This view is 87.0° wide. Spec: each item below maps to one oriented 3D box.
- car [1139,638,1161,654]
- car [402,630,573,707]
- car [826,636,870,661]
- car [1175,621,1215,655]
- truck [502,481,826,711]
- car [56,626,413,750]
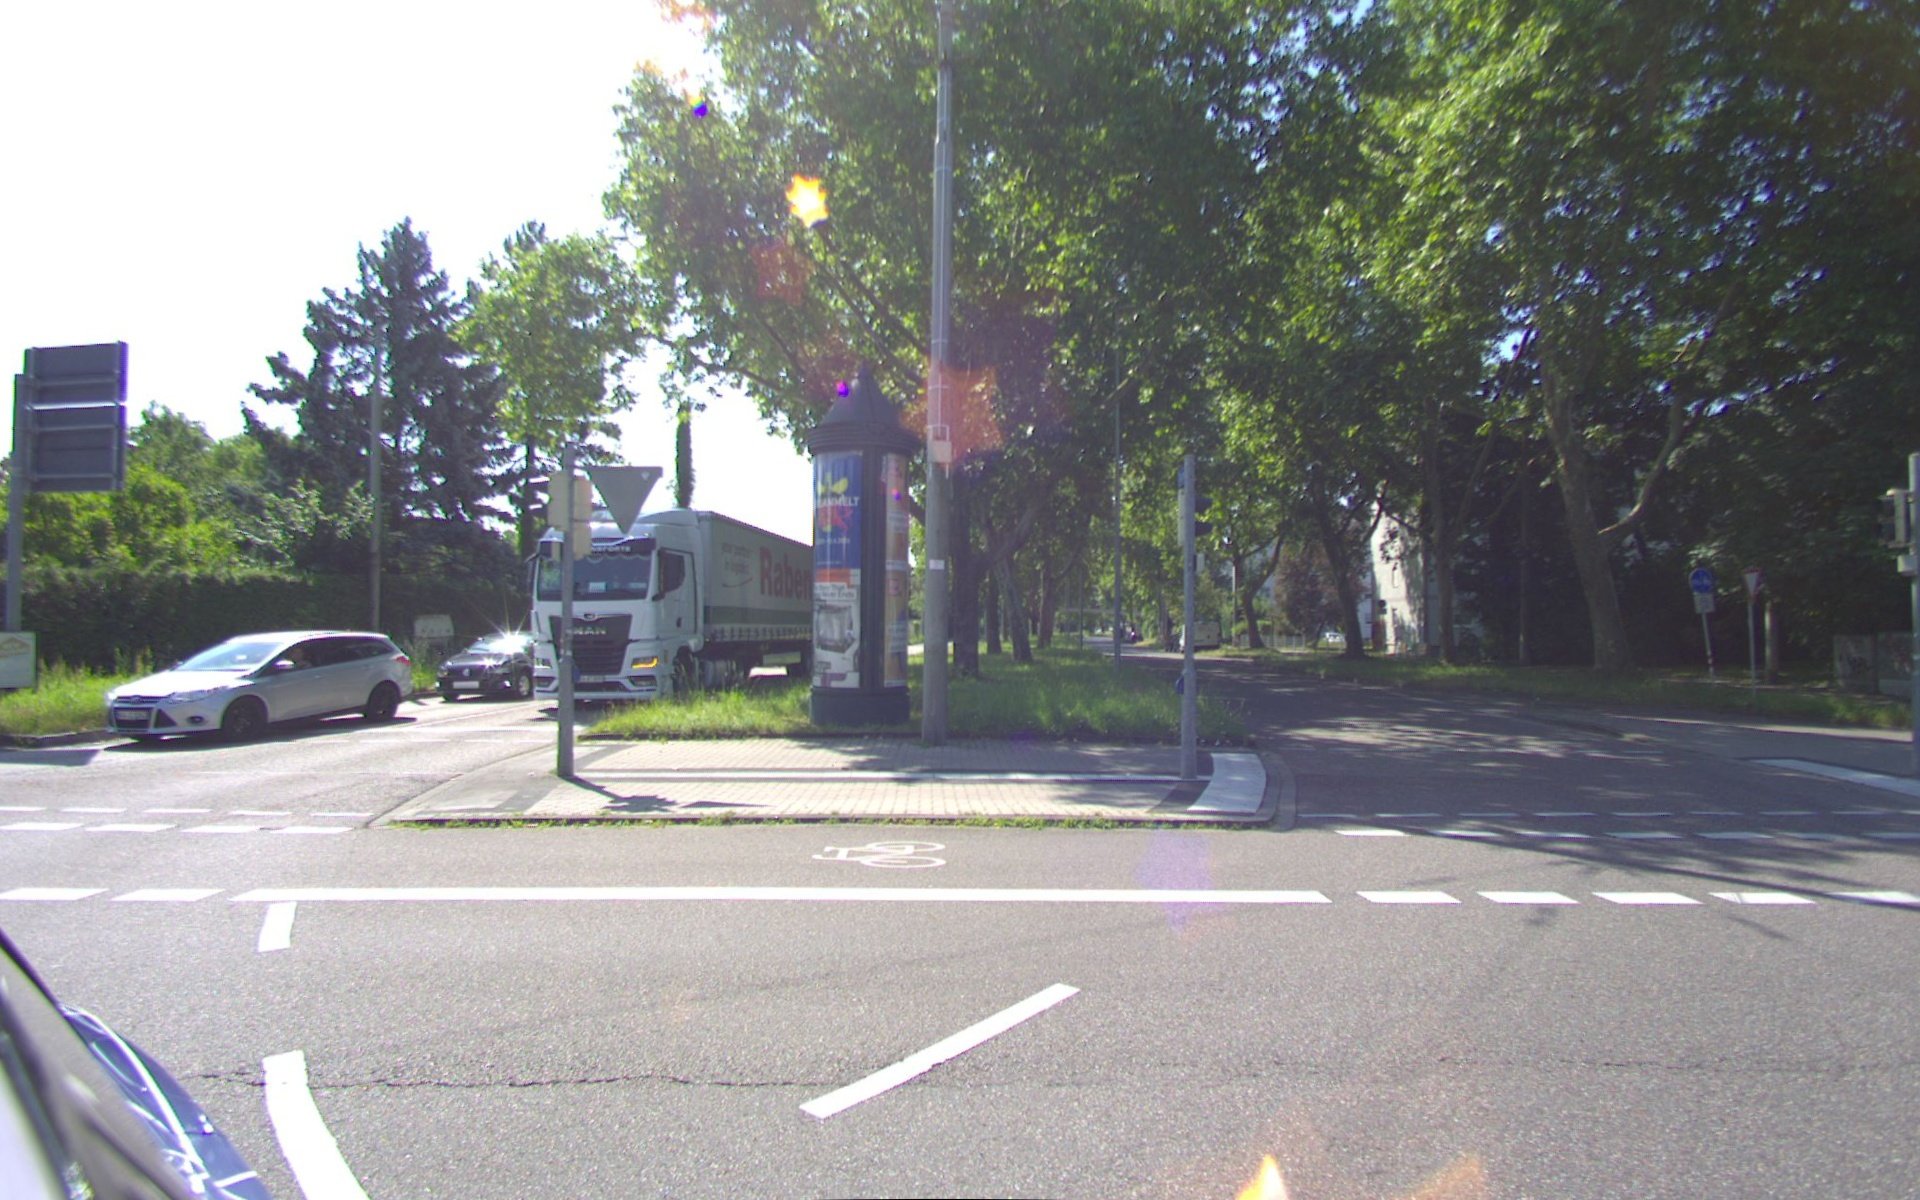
[{"bbox_3d":[17.655,4.252,94.050,1.682,1.498,3.910,0,-2,7],"label":"car"},{"bbox_3d":[-9.935,1.389,21.582,1.614,1.444,3.732,-1,-1,6],"label":"car"},{"bbox_3d":[-6.594,2.846,59.998,1.735,1.379,4.363,-1,-1,6],"label":"car"},{"bbox_3d":[16.569,2.688,71.606,1.974,2.334,4.654,0,-2,3],"label":"car"},{"bbox_3d":[-6.197,0.176,25.047,2.818,4.038,14.283,0,-2,4],"label":"truck"},{"bbox_3d":[-10.377,1.176,14.969,1.736,1.522,4.385,-1,-1,9],"label":"car"}]
